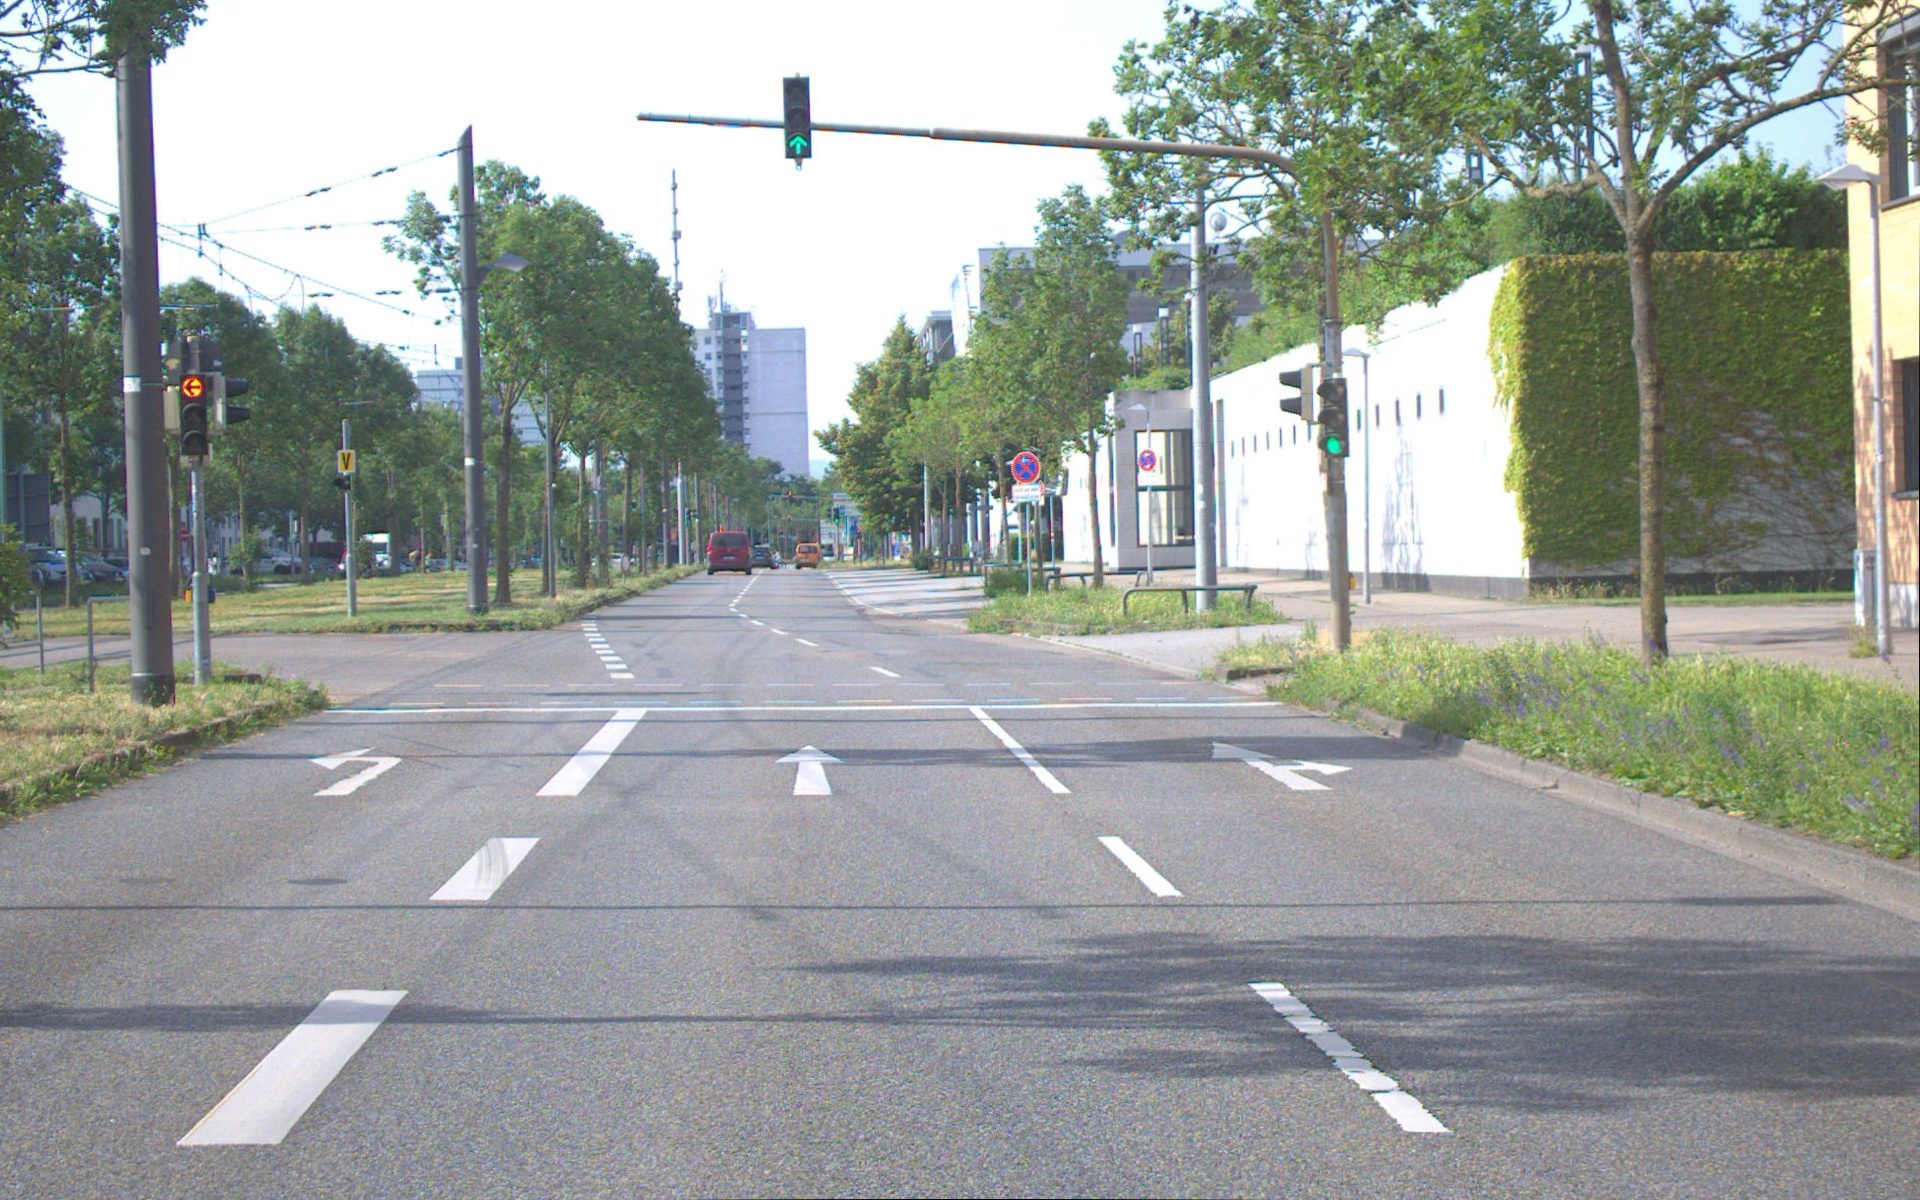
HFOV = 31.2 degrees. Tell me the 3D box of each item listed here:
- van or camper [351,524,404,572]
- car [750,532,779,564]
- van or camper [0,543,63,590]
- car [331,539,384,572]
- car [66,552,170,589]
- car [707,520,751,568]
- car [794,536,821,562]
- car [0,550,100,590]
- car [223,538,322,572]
[{"bbox_3d":[-32.023,-2.826,189.063,2.203,2.522,6.031,1,0,-3],"label":"van or camper"},{"bbox_3d":[-12.627,-3.358,221.739,1.748,2.007,3.216,1,0,-2],"label":"car"},{"bbox_3d":[-34.598,-1.212,122.902,4.843,1.618,1.999,1,0,30],"label":"van or camper"},{"bbox_3d":[-31.892,-2.335,182.118,1.965,1.688,4.297,1,0,1],"label":"car"},{"bbox_3d":[-34.692,-1.210,141.697,3.992,1.412,1.575,1,0,23],"label":"car"},{"bbox_3d":[-9.971,-2.419,148.743,1.748,2.007,3.216,1,0,-2],"label":"car"},{"bbox_3d":[-10.061,-3.379,226.707,1.748,1.645,3.216,1,0,-2],"label":"car"},{"bbox_3d":[-33.912,-1.107,126.159,4.470,1.414,1.972,1,0,32],"label":"car"},{"bbox_3d":[-37.487,-2.470,187.409,5.319,1.732,1.996,1,0,31],"label":"car"}]
